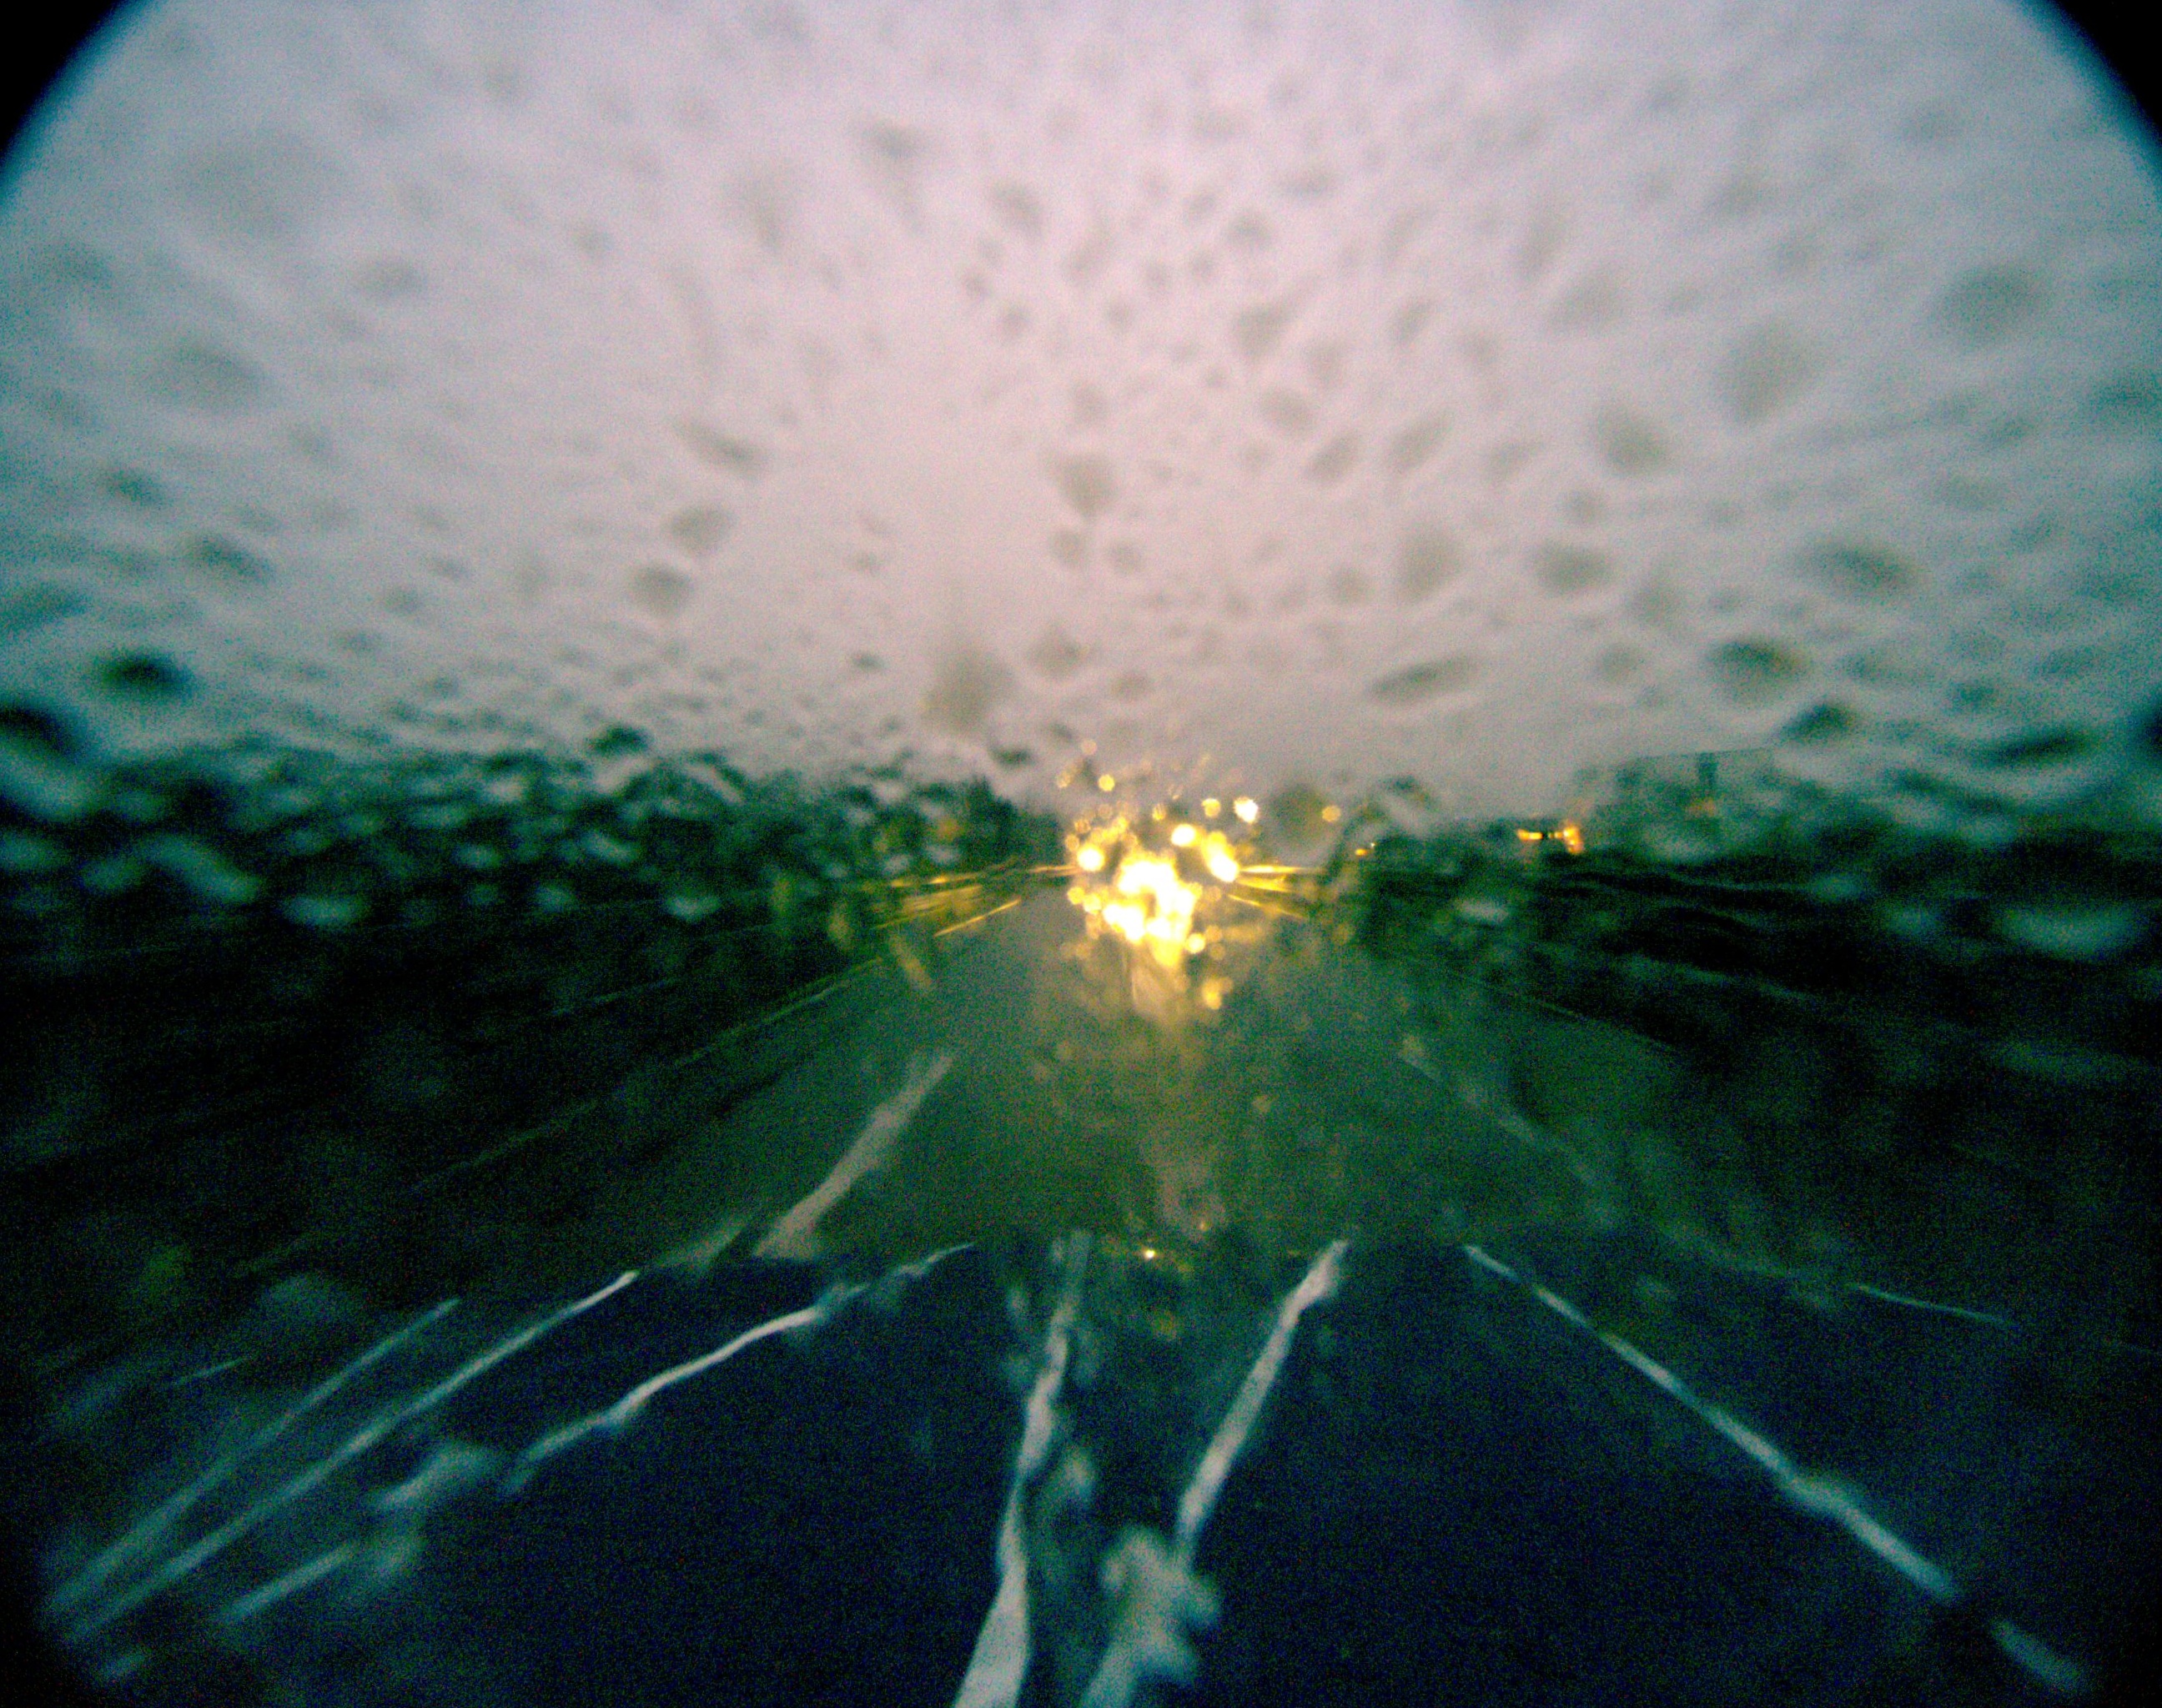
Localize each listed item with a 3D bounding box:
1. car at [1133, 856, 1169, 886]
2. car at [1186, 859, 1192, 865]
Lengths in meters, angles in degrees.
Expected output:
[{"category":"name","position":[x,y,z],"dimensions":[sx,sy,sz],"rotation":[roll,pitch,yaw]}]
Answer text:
[{"category":"car","position":[4.158,0.989,45.686],"dimensions":[1.886,1.514,4.000],"rotation":[-4,1,3]},{"category":"car","position":[34.355,2.397,242.145],"dimensions":[1.997,1.838,3.675],"rotation":[-2,0,7]}]
